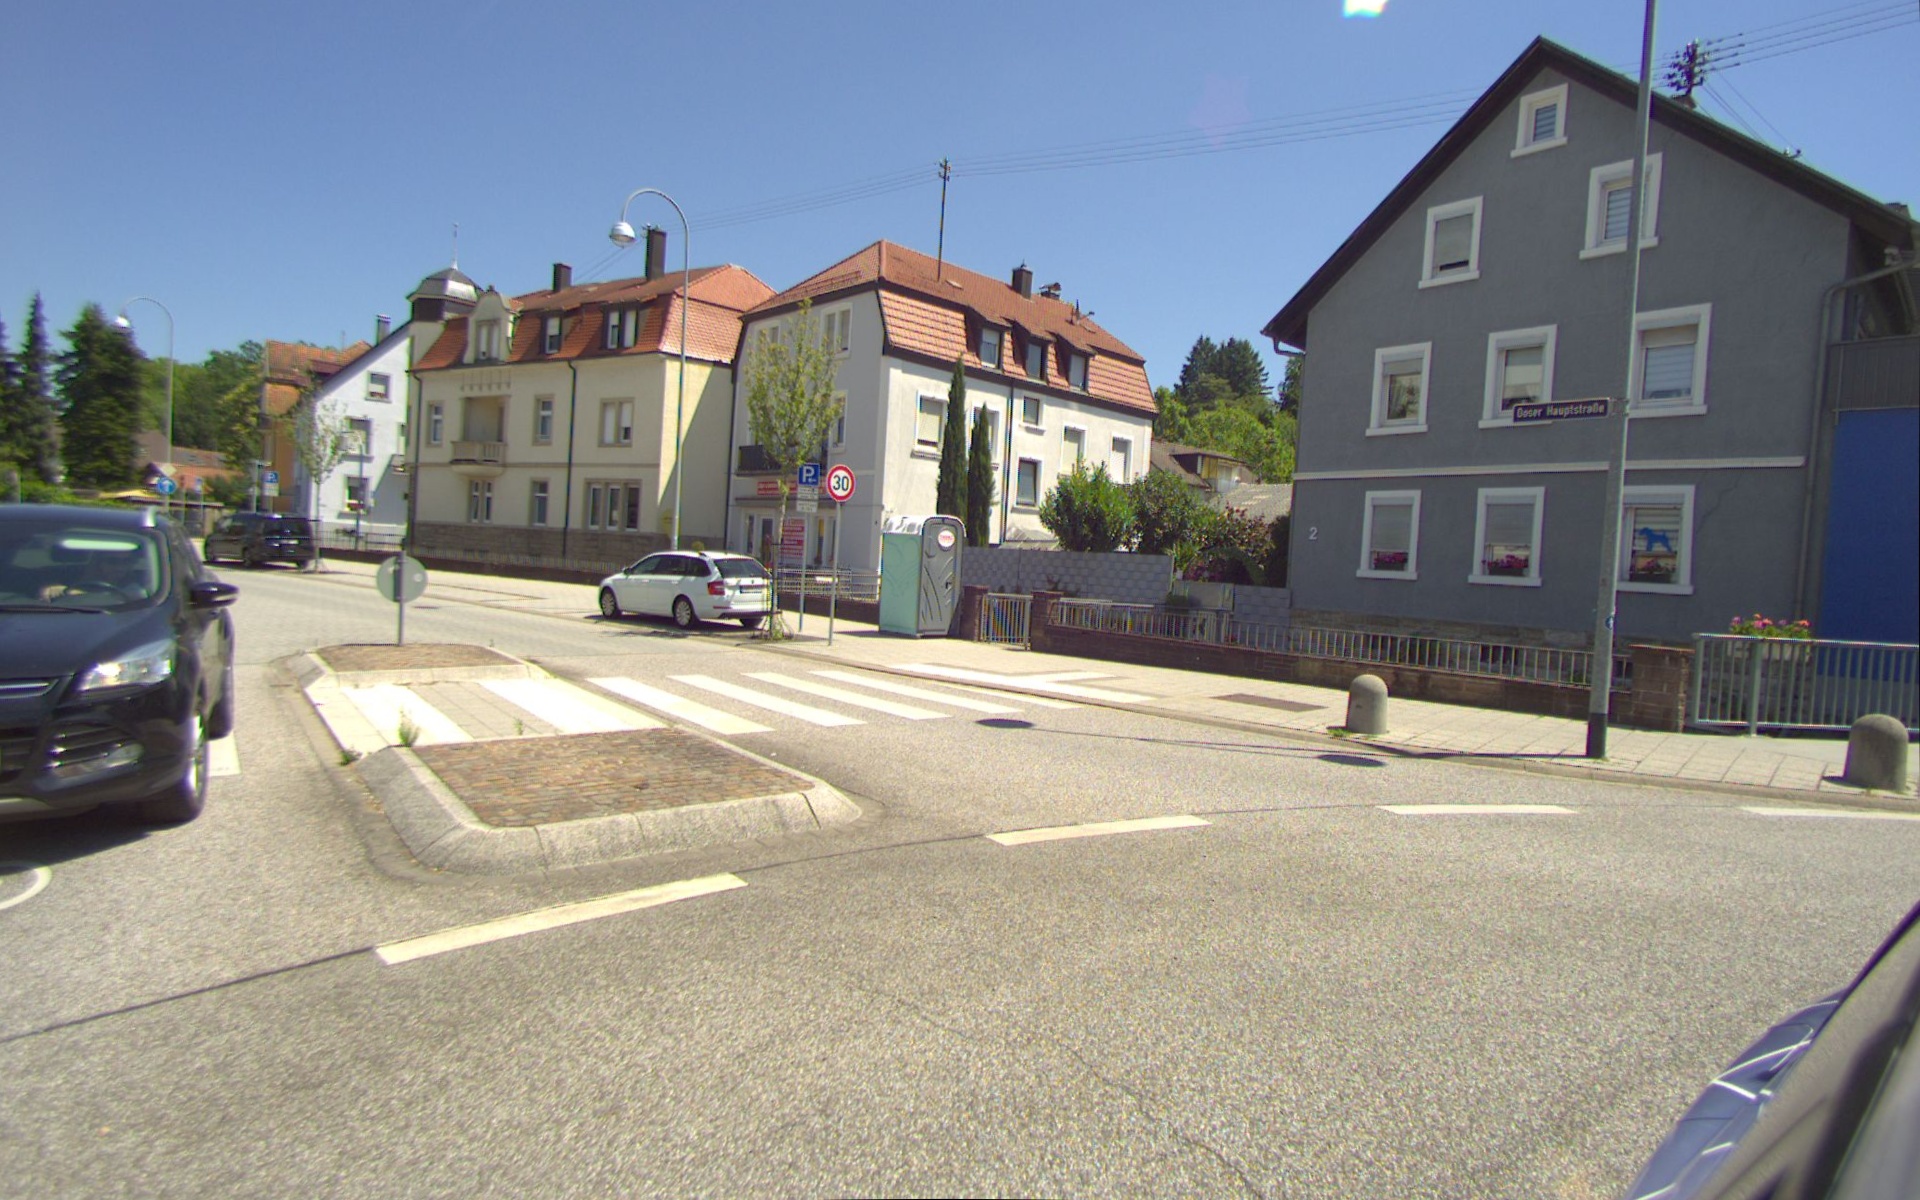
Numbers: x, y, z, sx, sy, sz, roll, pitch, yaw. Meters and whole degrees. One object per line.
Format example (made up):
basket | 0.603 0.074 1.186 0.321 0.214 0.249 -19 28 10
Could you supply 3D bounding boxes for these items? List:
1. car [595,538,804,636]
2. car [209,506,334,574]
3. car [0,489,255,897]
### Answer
car | -5.261 -0.367 20.232 4.270 1.602 1.972 5 7 41
car | -23.490 -2.057 34.495 4.260 1.887 1.976 7 2 33
car | -5.392 0.255 6.001 1.962 1.709 4.529 1 3 -35
